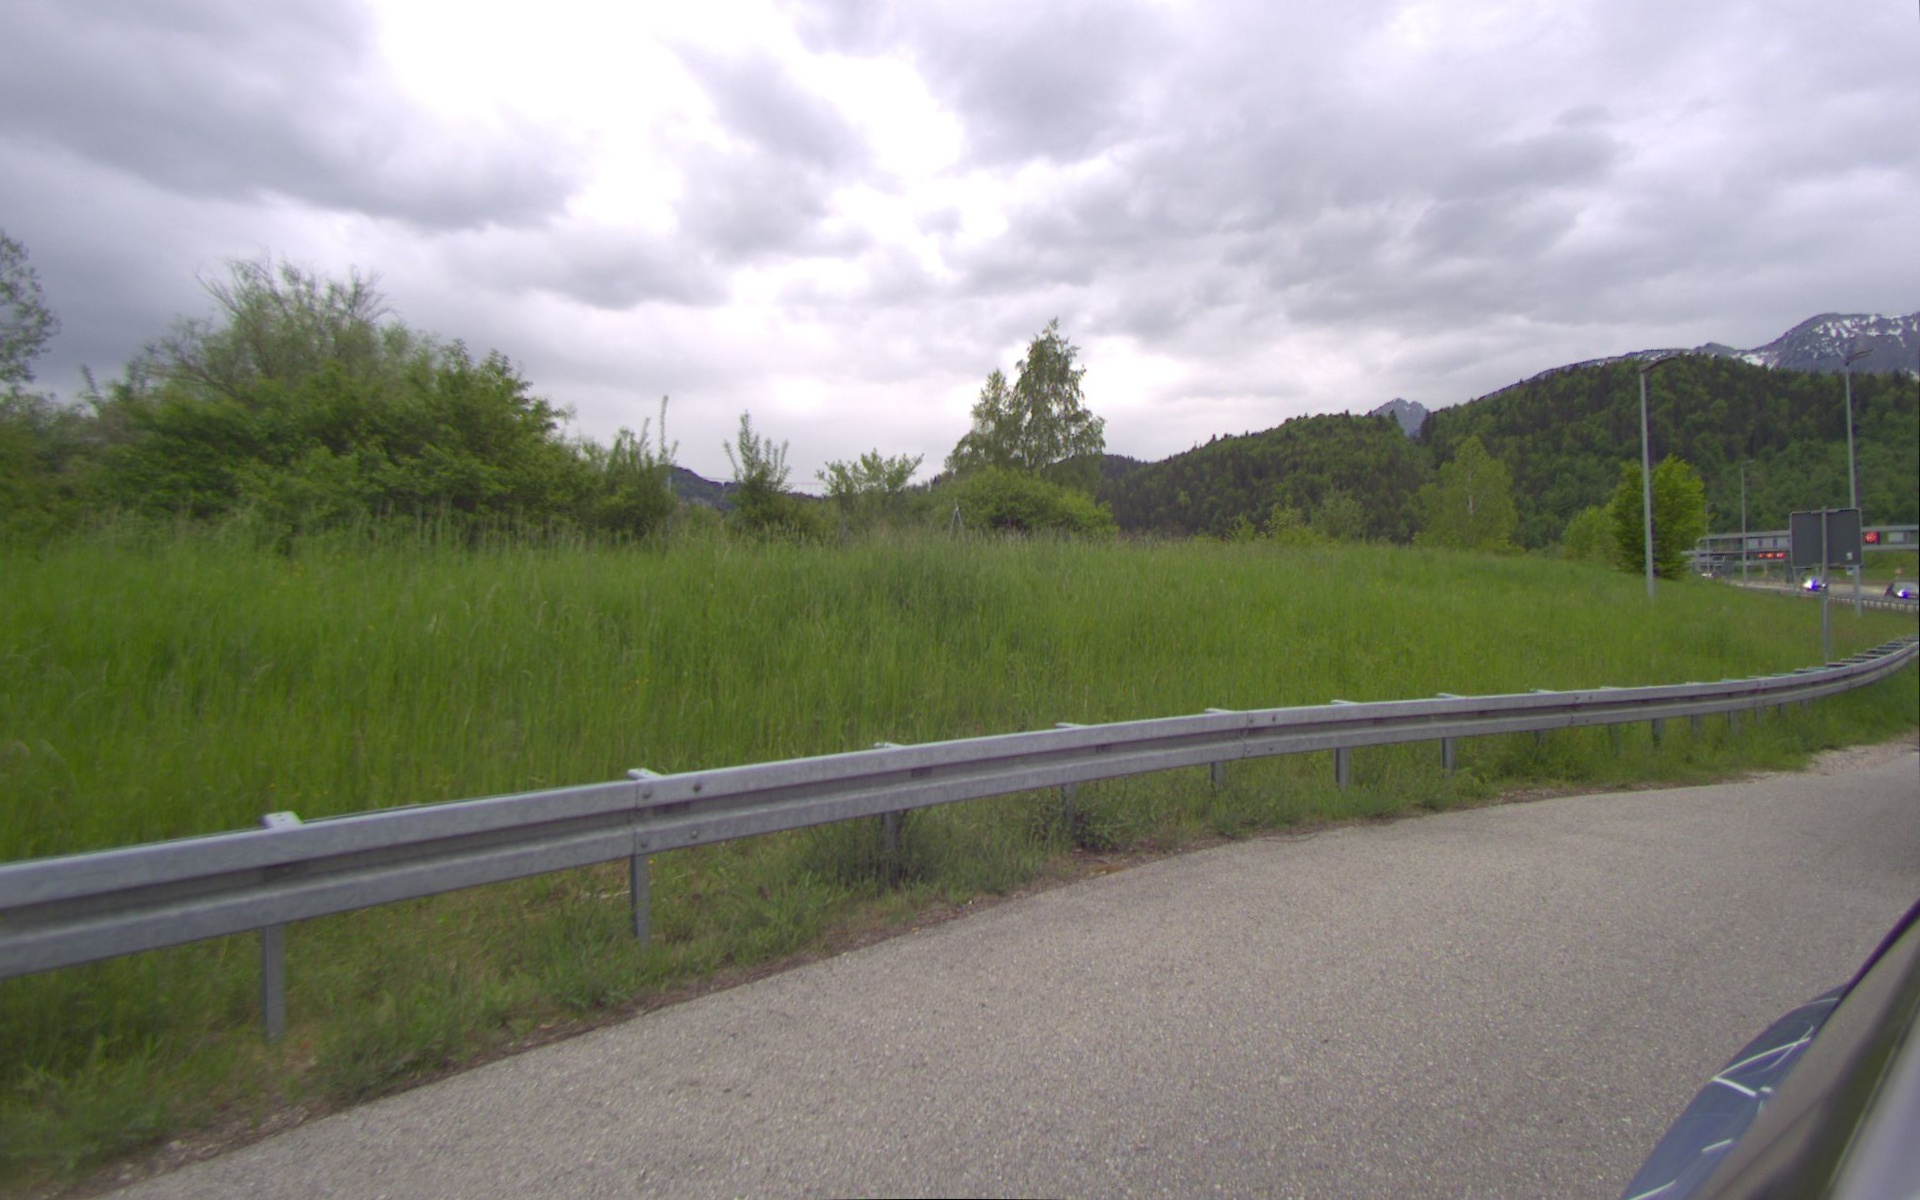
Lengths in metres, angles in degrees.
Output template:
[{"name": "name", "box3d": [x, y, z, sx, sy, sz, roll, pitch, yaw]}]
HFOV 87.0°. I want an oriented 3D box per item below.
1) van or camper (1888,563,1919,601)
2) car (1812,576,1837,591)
[{"name": "van or camper", "box3d": [70.924, -1.323, 73.983, 3.321, 2.677, 8.102, 1, 2, 34]}, {"name": "car", "box3d": [96.495, -1.871, 112.989, 1.710, 1.659, 4.295, 1, 2, 34]}]
